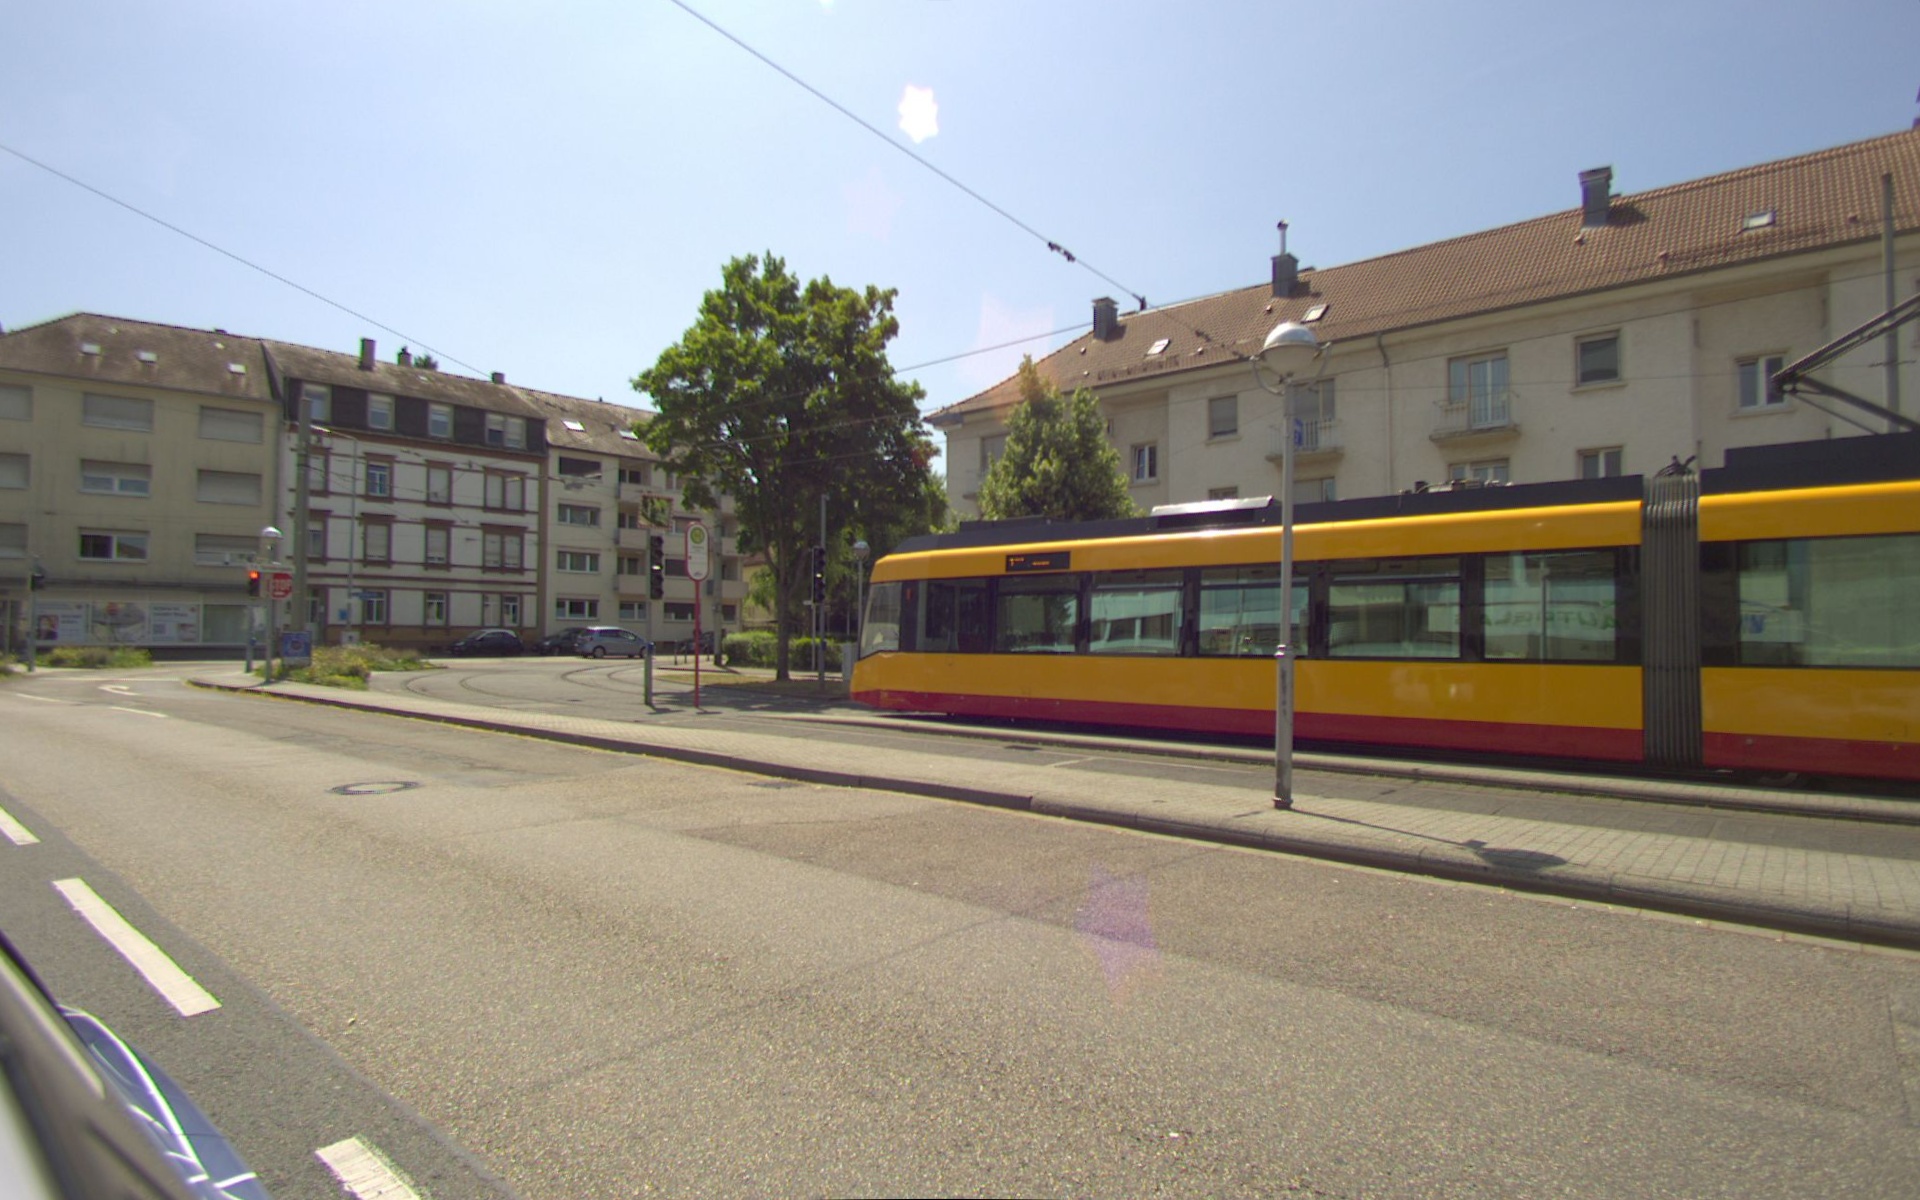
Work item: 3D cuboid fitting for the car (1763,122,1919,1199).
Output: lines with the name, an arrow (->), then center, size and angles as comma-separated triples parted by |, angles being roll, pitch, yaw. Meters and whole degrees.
car -> 3.290, 0.376, 0.273 | 4.712, 1.864, 1.685 | 0, 0, 43

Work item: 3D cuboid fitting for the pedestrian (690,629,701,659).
pedestrian -> -16.893, 2.783, 64.580 | 0.428, 1.871, 0.549 | -1, -1, 43

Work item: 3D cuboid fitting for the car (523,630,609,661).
car -> -22.027, 2.517, 56.644 | 2.000, 1.597, 4.012 | 0, 0, 43

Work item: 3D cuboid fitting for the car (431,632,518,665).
car -> -25.531, 2.514, 53.285 | 2.000, 1.597, 3.705 | 0, 0, 43

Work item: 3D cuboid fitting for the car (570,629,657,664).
car -> -17.995, 2.394, 52.655 | 3.938, 1.630, 1.762 | 0, 0, -41

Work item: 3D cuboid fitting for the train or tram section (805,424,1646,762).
train or tram section -> 2.881, 0.061, 15.821 | 12.705, 3.522, 2.933 | -2, -1, 41

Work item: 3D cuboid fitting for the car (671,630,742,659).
car -> -15.782, 2.749, 63.135 | 1.815, 1.597, 4.012 | 0, 0, 43

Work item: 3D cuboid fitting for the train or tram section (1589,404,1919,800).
train or tram section -> 9.252, 0.084, 10.307 | 4.414, 3.522, 2.933 | -2, -4, 41
